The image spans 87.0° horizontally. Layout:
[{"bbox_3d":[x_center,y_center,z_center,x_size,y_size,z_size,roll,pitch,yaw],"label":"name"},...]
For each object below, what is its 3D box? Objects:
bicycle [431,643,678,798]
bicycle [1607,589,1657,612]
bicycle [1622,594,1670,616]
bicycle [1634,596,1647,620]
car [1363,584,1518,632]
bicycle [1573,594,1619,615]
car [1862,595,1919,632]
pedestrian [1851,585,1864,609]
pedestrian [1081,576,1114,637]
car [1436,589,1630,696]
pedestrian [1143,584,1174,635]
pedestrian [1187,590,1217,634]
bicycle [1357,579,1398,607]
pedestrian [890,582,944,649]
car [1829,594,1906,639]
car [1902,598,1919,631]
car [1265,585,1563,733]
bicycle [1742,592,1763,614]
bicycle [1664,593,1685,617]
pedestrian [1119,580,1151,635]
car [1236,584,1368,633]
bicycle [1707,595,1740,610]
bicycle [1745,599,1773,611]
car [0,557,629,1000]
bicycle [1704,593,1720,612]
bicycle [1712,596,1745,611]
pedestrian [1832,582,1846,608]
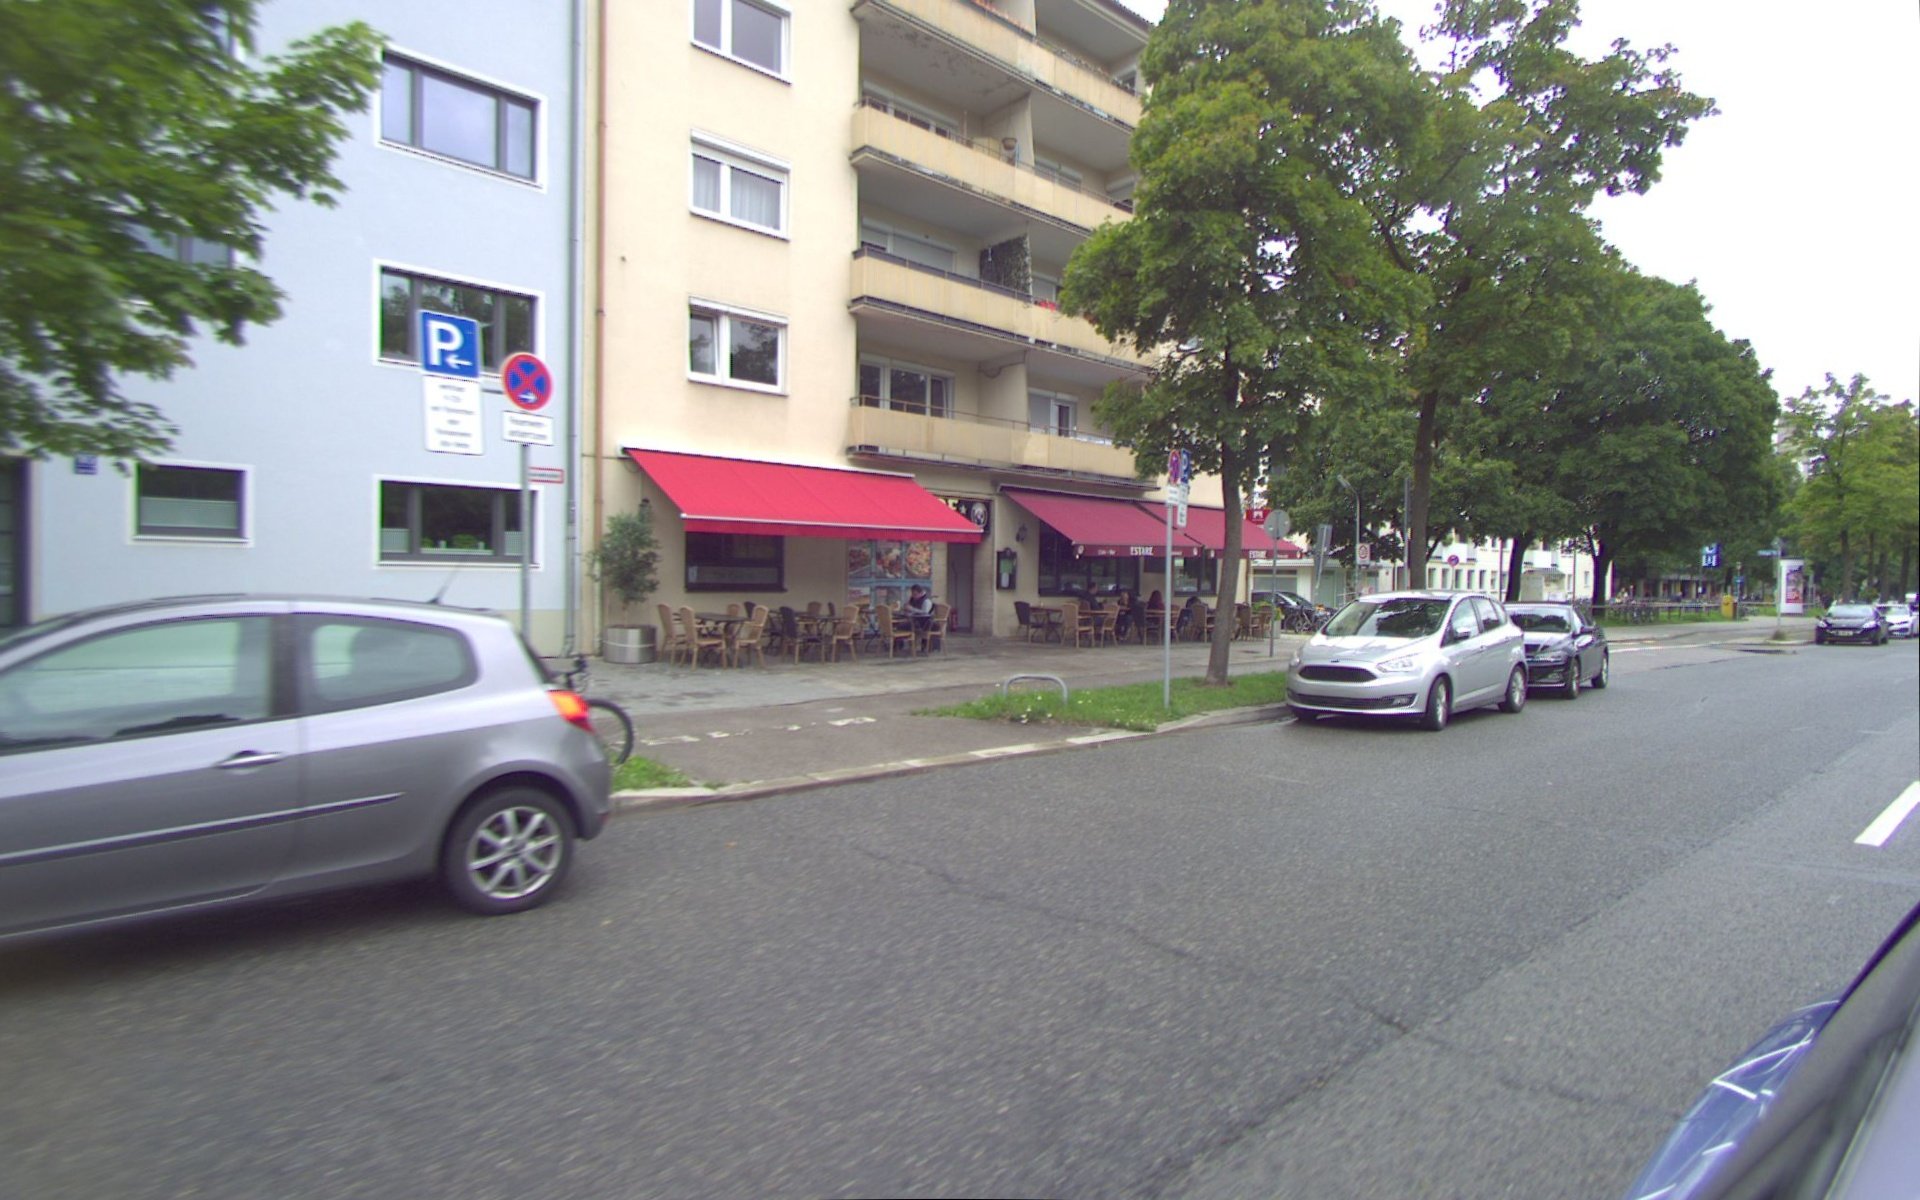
[{"bbox_3d":[-2.931,0.831,7.431,1.646,0.959,0.386,0,1,-41],"label":"bicycle"},{"bbox_3d":[34.141,0.012,51.399,0.653,1.081,2.027,0,1,-45],"label":"bicycle"},{"bbox_3d":[36.308,0.246,53.561,0.653,1.081,2.027,0,1,-45],"label":"bicycle"},{"bbox_3d":[29.322,0.338,43.635,0.446,1.028,1.831,1,1,33],"label":"bicycle"},{"bbox_3d":[15.836,0.211,33.501,1.963,1.460,4.220,0,1,-37],"label":"car"},{"bbox_3d":[34.748,0.231,55.291,0.653,1.081,2.027,0,1,-45],"label":"bicycle"},{"bbox_3d":[39.579,0.540,42.610,4.212,1.455,1.824,0,-1,-41],"label":"car"},{"bbox_3d":[61.561,-0.194,69.418,0.555,1.625,0.515,1,0,30],"label":"pedestrian"},{"bbox_3d":[3.152,0.142,23.201,0.543,1.356,0.539,0,1,-42],"label":"pedestrian"},{"bbox_3d":[9.336,0.585,16.364,1.830,1.491,3.826,1,1,44],"label":"car"},{"bbox_3d":[4.824,0.226,24.579,0.478,1.229,0.539,0,1,-41],"label":"pedestrian"},{"bbox_3d":[6.083,0.293,25.465,0.478,1.067,0.539,0,1,-41],"label":"pedestrian"},{"bbox_3d":[17.734,-0.302,42.985,0.687,1.170,1.471,0,1,-42],"label":"bicycle"},{"bbox_3d":[-0.796,0.269,18.769,0.635,1.177,0.745,0,3,-41],"label":"pedestrian"},{"bbox_3d":[32.060,0.565,35.715,3.888,1.496,1.646,1,0,-42],"label":"car"},{"bbox_3d":[47.198,0.693,49.096,4.085,1.530,1.824,0,1,-41],"label":"car"},{"bbox_3d":[5.880,0.603,12.842,4.446,1.541,1.832,0,1,-42],"label":"car"},{"bbox_3d":[44.368,0.183,56.649,2.039,1.203,0.545,0,1,-40],"label":"bicycle"},{"bbox_3d":[33.033,0.221,46.791,0.469,1.068,1.739,4,4,44],"label":"bicycle"},{"bbox_3d":[4.132,0.168,23.897,0.478,1.284,0.539,0,1,-42],"label":"pedestrian"},{"bbox_3d":[11.596,0.248,34.450,1.701,1.538,3.931,0,1,-42],"label":"car"},{"bbox_3d":[47.837,0.165,63.413,0.490,0.927,1.595,0,1,-45],"label":"bicycle"},{"bbox_3d":[53.393,0.321,67.668,0.490,0.722,1.389,0,3,-45],"label":"bicycle"},{"bbox_3d":[-3.630,0.600,4.483,3.706,1.541,1.832,0,1,-42],"label":"car"},{"bbox_3d":[43.886,0.150,59.057,1.231,1.130,0.466,0,1,-40],"label":"bicycle"},{"bbox_3d":[49.396,0.209,65.079,0.490,0.927,1.596,0,2,-45],"label":"bicycle"},{"bbox_3d":[60.859,-0.356,70.055,0.555,1.777,0.651,1,0,30],"label":"pedestrian"}]
